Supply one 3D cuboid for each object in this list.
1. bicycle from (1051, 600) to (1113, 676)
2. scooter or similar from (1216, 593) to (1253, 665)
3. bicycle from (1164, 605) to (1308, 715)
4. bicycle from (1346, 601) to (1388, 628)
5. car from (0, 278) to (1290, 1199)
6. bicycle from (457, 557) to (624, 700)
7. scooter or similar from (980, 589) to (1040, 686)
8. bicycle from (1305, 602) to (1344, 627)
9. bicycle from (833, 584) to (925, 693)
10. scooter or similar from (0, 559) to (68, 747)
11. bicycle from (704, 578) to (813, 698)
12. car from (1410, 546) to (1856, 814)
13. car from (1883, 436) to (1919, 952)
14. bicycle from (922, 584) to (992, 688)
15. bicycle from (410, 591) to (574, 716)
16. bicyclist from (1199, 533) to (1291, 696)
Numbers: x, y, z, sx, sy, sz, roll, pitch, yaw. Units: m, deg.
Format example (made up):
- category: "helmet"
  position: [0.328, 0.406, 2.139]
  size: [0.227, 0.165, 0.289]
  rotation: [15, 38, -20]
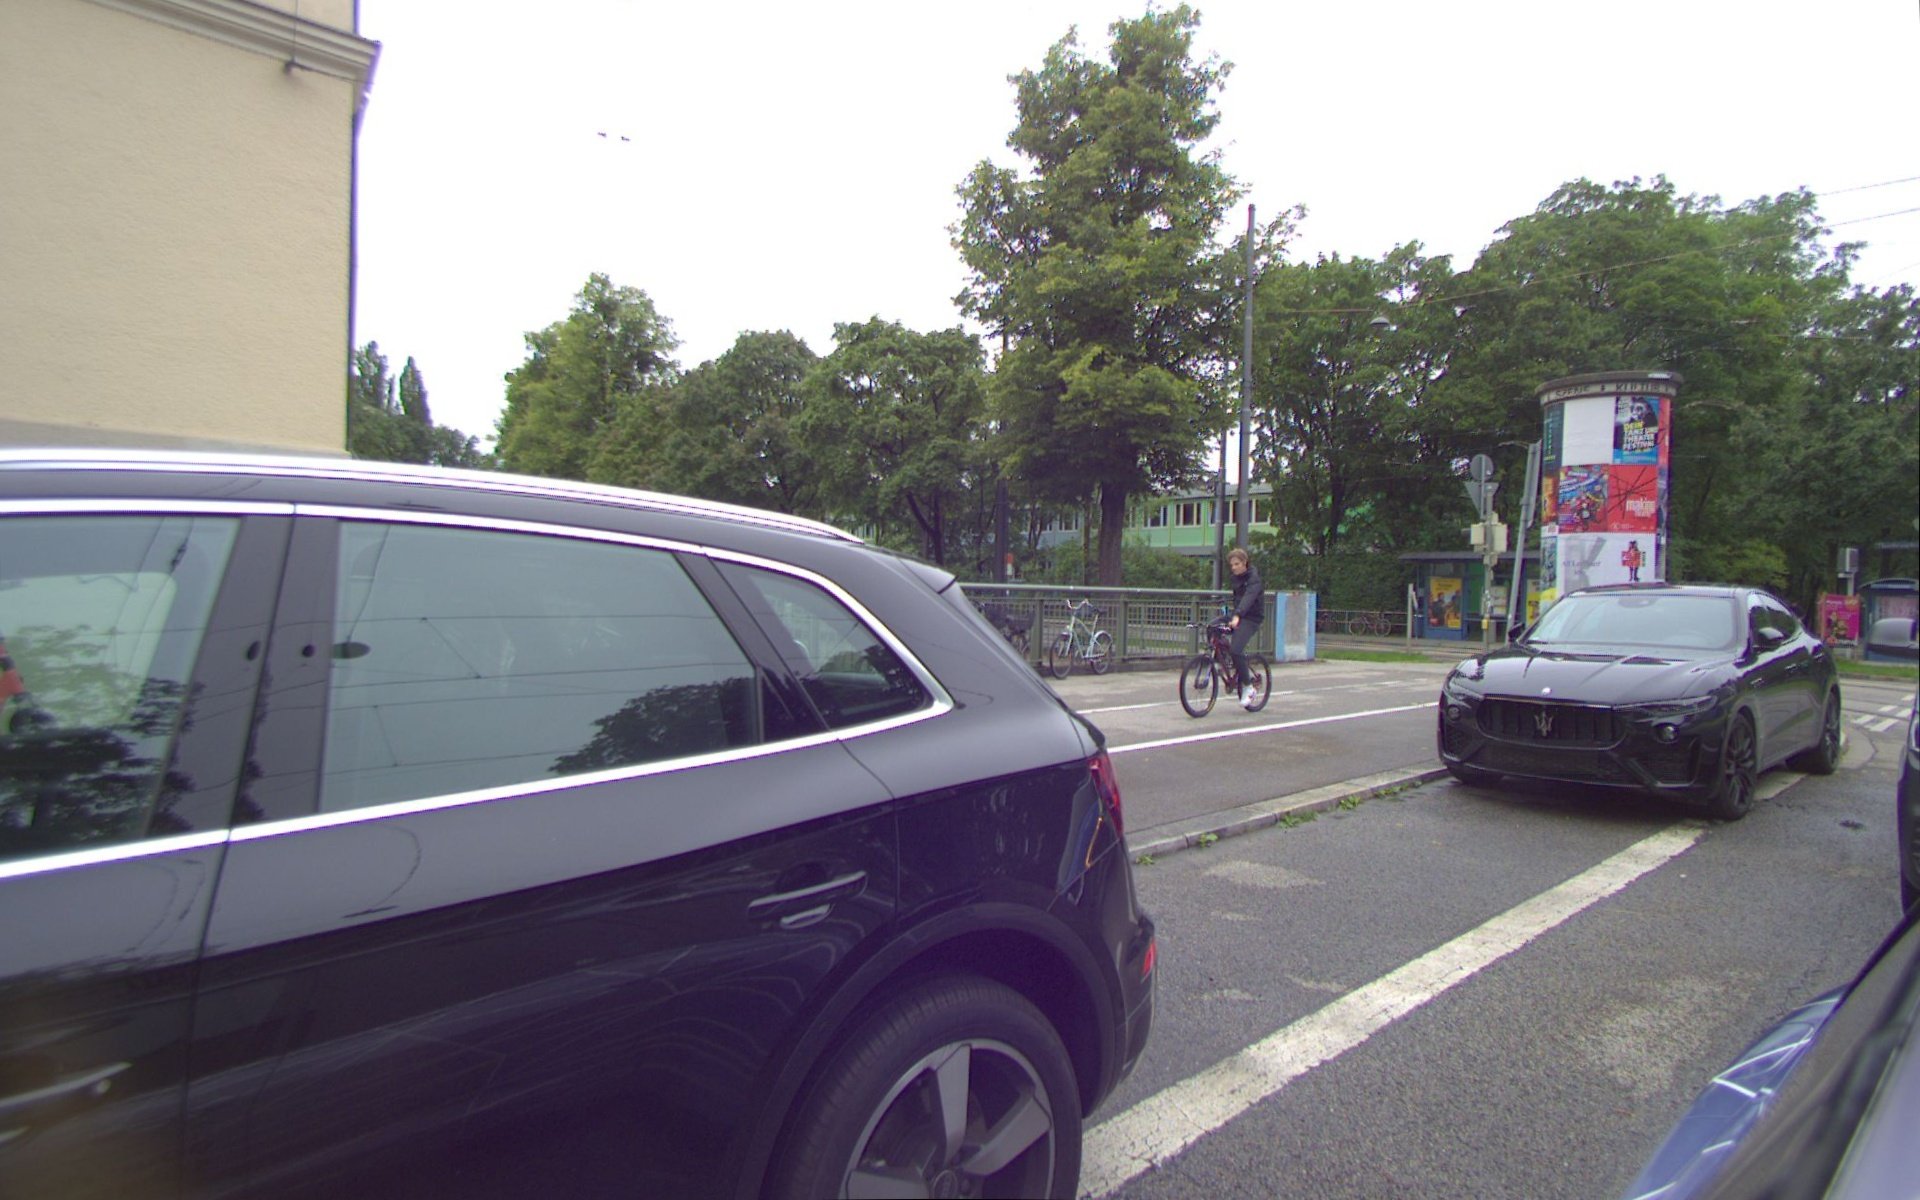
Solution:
- category: "bicycle"
  position: [1.852, 0.544, 15.241]
  size: [0.263, 1.096, 1.524]
  rotation: [-1, -1, 34]
- category: "scooter or similar"
  position: [4.802, 0.493, 17.707]
  size: [0.224, 1.227, 1.006]
  rotation: [-1, -1, 40]
- category: "bicycle"
  position: [3.110, 0.626, 11.306]
  size: [1.879, 1.091, 0.580]
  rotation: [0, 3, -42]
- category: "bicycle"
  position: [15.362, 0.548, 38.211]
  size: [0.366, 0.964, 1.483]
  rotation: [0, 1, -38]
- category: "car"
  position: [-1.431, 0.518, 1.749]
  size: [4.408, 1.679, 1.778]
  rotation: [0, 0, -40]
- category: "bicycle"
  position: [-4.136, 0.267, 10.053]
  size: [1.511, 1.329, 0.332]
  rotation: [0, -1, -42]
- category: "scooter or similar"
  position: [0.708, 0.492, 14.007]
  size: [0.242, 1.279, 1.482]
  rotation: [-1, 0, 27]
- category: "bicycle"
  position: [14.343, 0.567, 39.845]
  size: [0.366, 0.964, 1.483]
  rotation: [0, 1, -38]
- category: "bicycle"
  position: [-0.995, 0.454, 12.670]
  size: [0.281, 1.298, 1.391]
  rotation: [-1, -1, 38]
- category: "scooter or similar"
  position: [-7.011, 0.373, 7.095]
  size: [1.122, 1.329, 0.261]
  rotation: [0, -1, -41]
- category: "bicycle"
  position: [-2.281, 0.411, 11.583]
  size: [0.281, 1.298, 1.391]
  rotation: [-1, -1, 38]
- category: "car"
  position: [5.753, 0.518, 8.403]
  size: [4.582, 1.630, 1.904]
  rotation: [1, -1, -40]
- category: "car"
  position: [6.502, 0.402, 5.344]
  size: [5.612, 2.078, 1.901]
  rotation: [0, 1, -43]
- category: "bicycle"
  position: [-0.020, 0.448, 13.360]
  size: [0.280, 1.298, 1.395]
  rotation: [-1, -1, 29]
- category: "bicycle"
  position: [-4.431, 0.476, 9.662]
  size: [0.286, 1.120, 1.421]
  rotation: [1, 0, 42]
- category: "bicyclist"
  position: [3.207, 0.156, 11.402]
  size: [0.714, 1.751, 0.725]
  rotation: [0, -1, -41]
